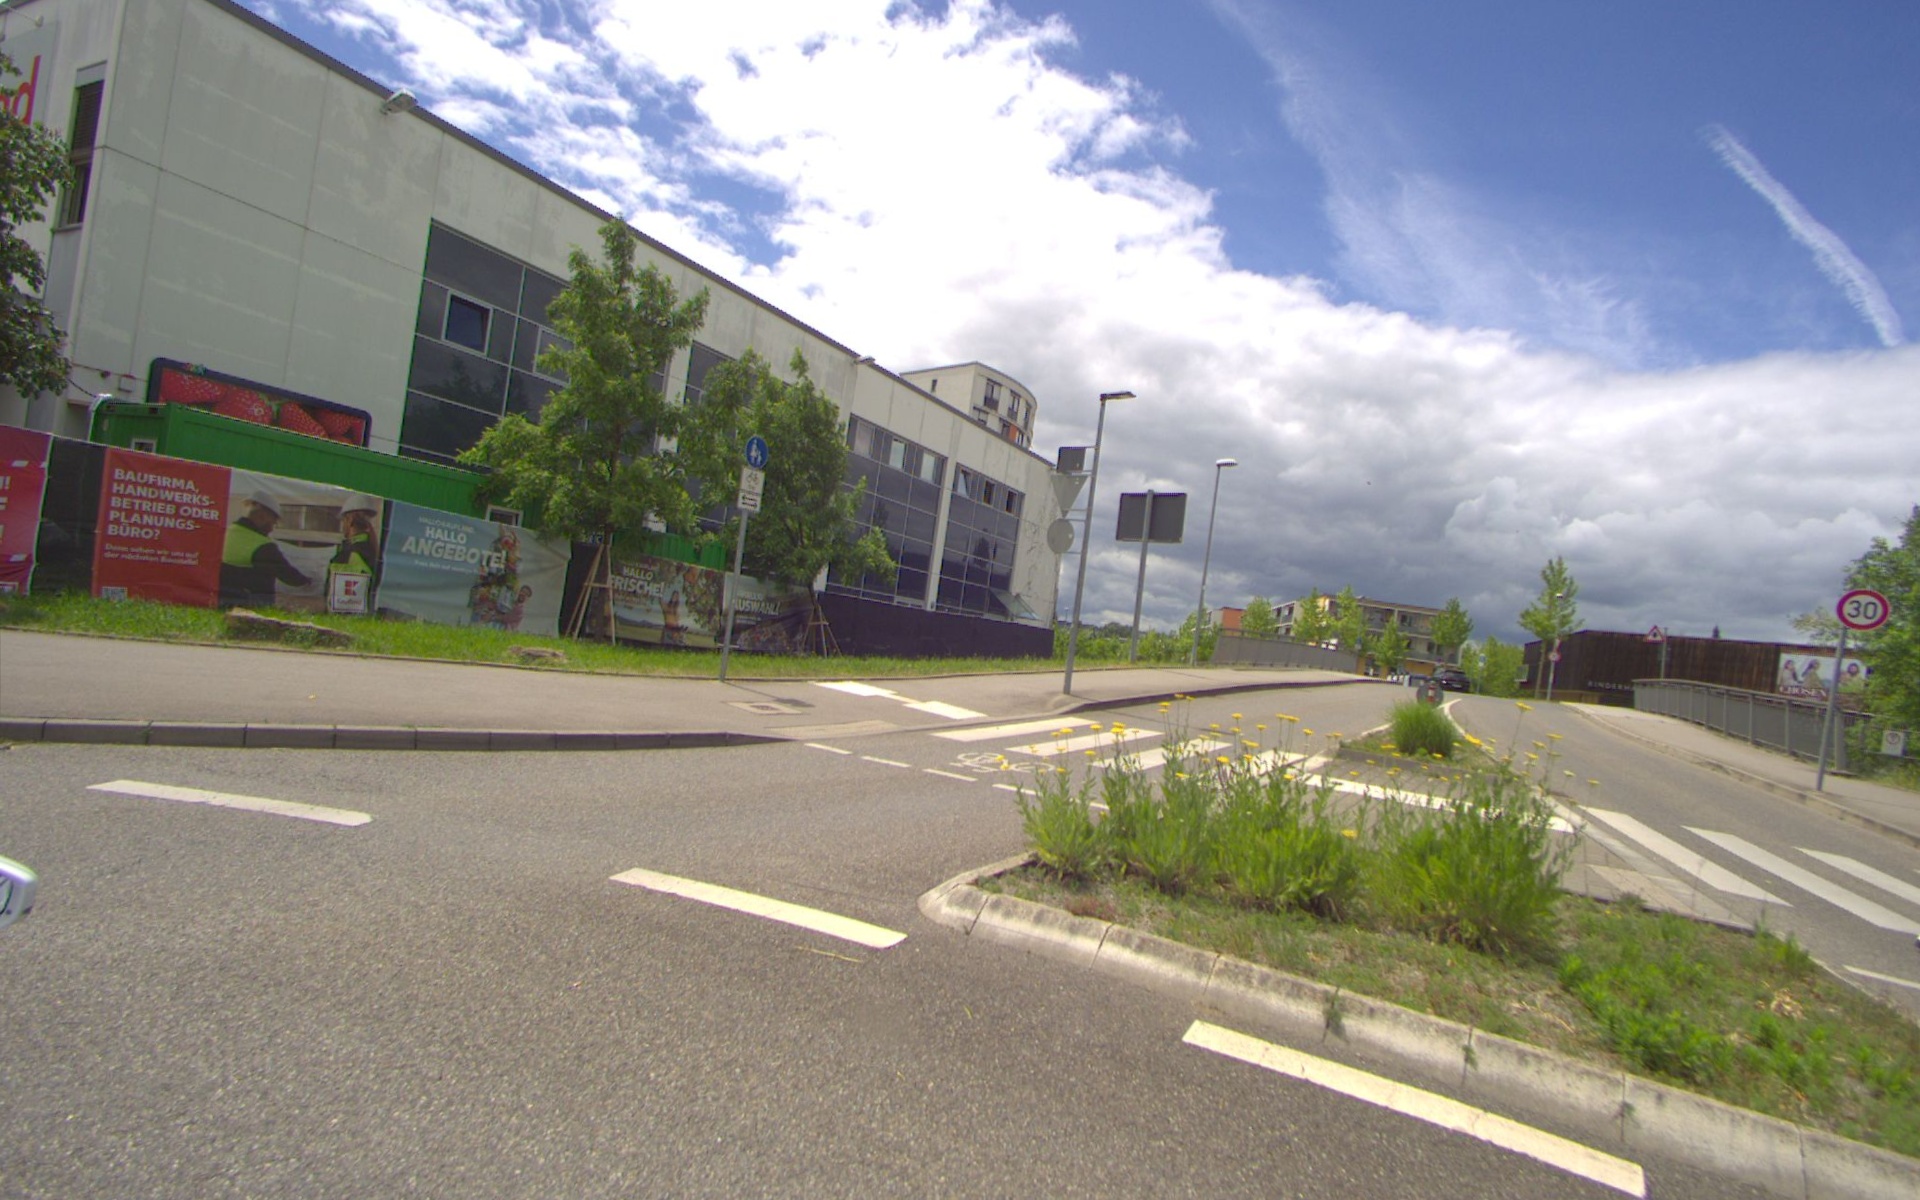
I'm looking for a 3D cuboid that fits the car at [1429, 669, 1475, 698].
[{"bbox_3d":[31.815,5.425,65.115,1.877,1.468,4.007,8,-3,17],"label":"car"}]

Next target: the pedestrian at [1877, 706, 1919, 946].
[{"bbox_3d":[6.925,1.584,6.588,0.887,1.558,1.029,10,-2,-31],"label":"pedestrian"}]
